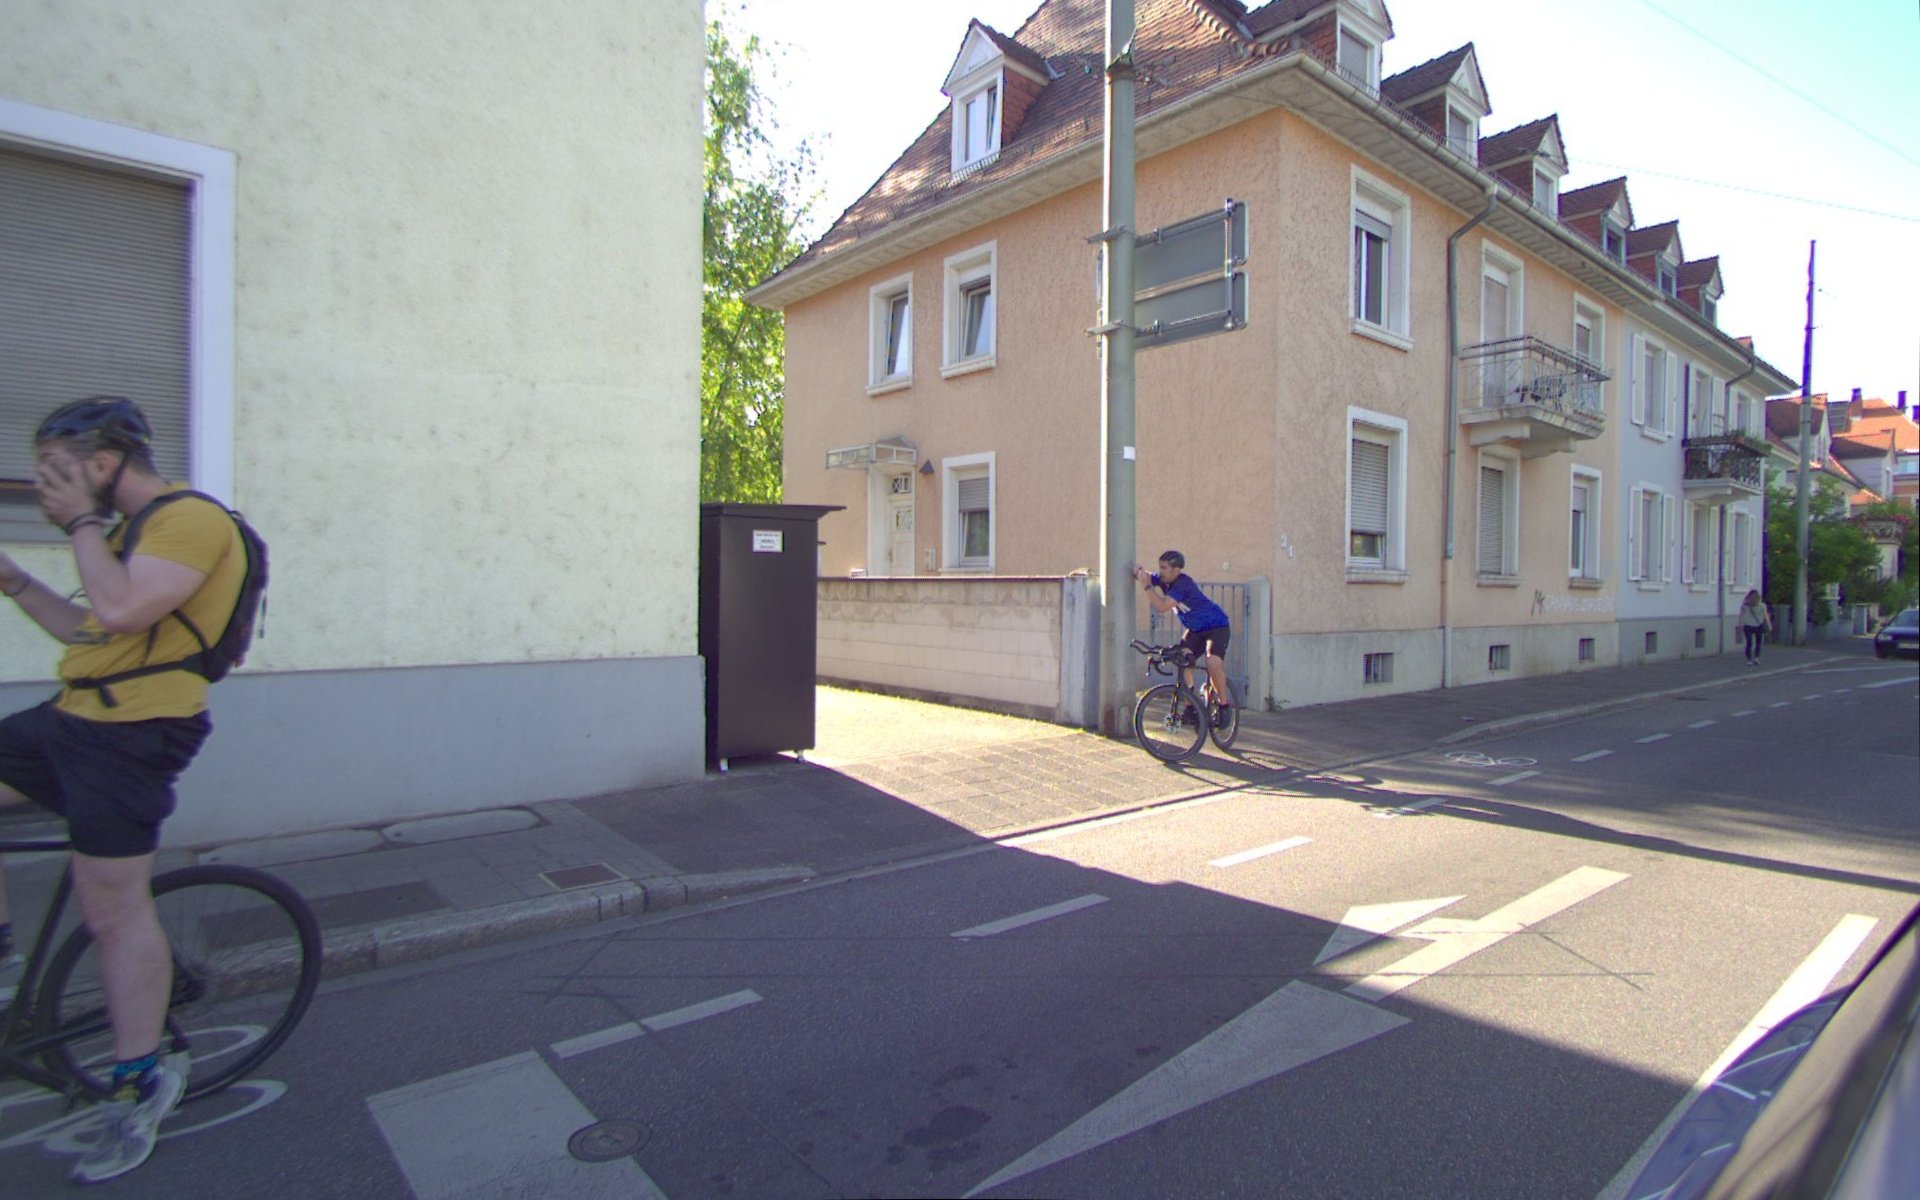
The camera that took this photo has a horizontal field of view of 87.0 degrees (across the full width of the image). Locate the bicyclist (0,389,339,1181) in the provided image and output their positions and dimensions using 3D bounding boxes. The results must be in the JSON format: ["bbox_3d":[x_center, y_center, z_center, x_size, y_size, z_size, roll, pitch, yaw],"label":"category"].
[{"bbox_3d":[-2.311,0.424,2.703,1.018,1.840,0.653,0,1,-41],"label":"bicyclist"}]

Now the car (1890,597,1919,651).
[{"bbox_3d":[26.685,0.635,27.350,3.796,1.382,1.648,0,1,-38],"label":"car"}]

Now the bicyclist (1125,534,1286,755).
[{"bbox_3d":[2.272,0.364,9.438,0.831,1.887,1.076,0,4,-40],"label":"bicyclist"}]

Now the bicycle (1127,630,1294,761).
[{"bbox_3d":[2.305,0.821,9.213,1.669,1.003,0.572,0,4,-41],"label":"bicycle"}]

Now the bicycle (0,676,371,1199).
[{"bbox_3d":[-2.487,0.847,2.538,1.669,1.180,0.572,0,1,-41],"label":"bicycle"}]

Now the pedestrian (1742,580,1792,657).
[{"bbox_3d":[17.940,0.395,22.491,1.079,1.682,0.694,0,0,-41],"label":"pedestrian"}]
